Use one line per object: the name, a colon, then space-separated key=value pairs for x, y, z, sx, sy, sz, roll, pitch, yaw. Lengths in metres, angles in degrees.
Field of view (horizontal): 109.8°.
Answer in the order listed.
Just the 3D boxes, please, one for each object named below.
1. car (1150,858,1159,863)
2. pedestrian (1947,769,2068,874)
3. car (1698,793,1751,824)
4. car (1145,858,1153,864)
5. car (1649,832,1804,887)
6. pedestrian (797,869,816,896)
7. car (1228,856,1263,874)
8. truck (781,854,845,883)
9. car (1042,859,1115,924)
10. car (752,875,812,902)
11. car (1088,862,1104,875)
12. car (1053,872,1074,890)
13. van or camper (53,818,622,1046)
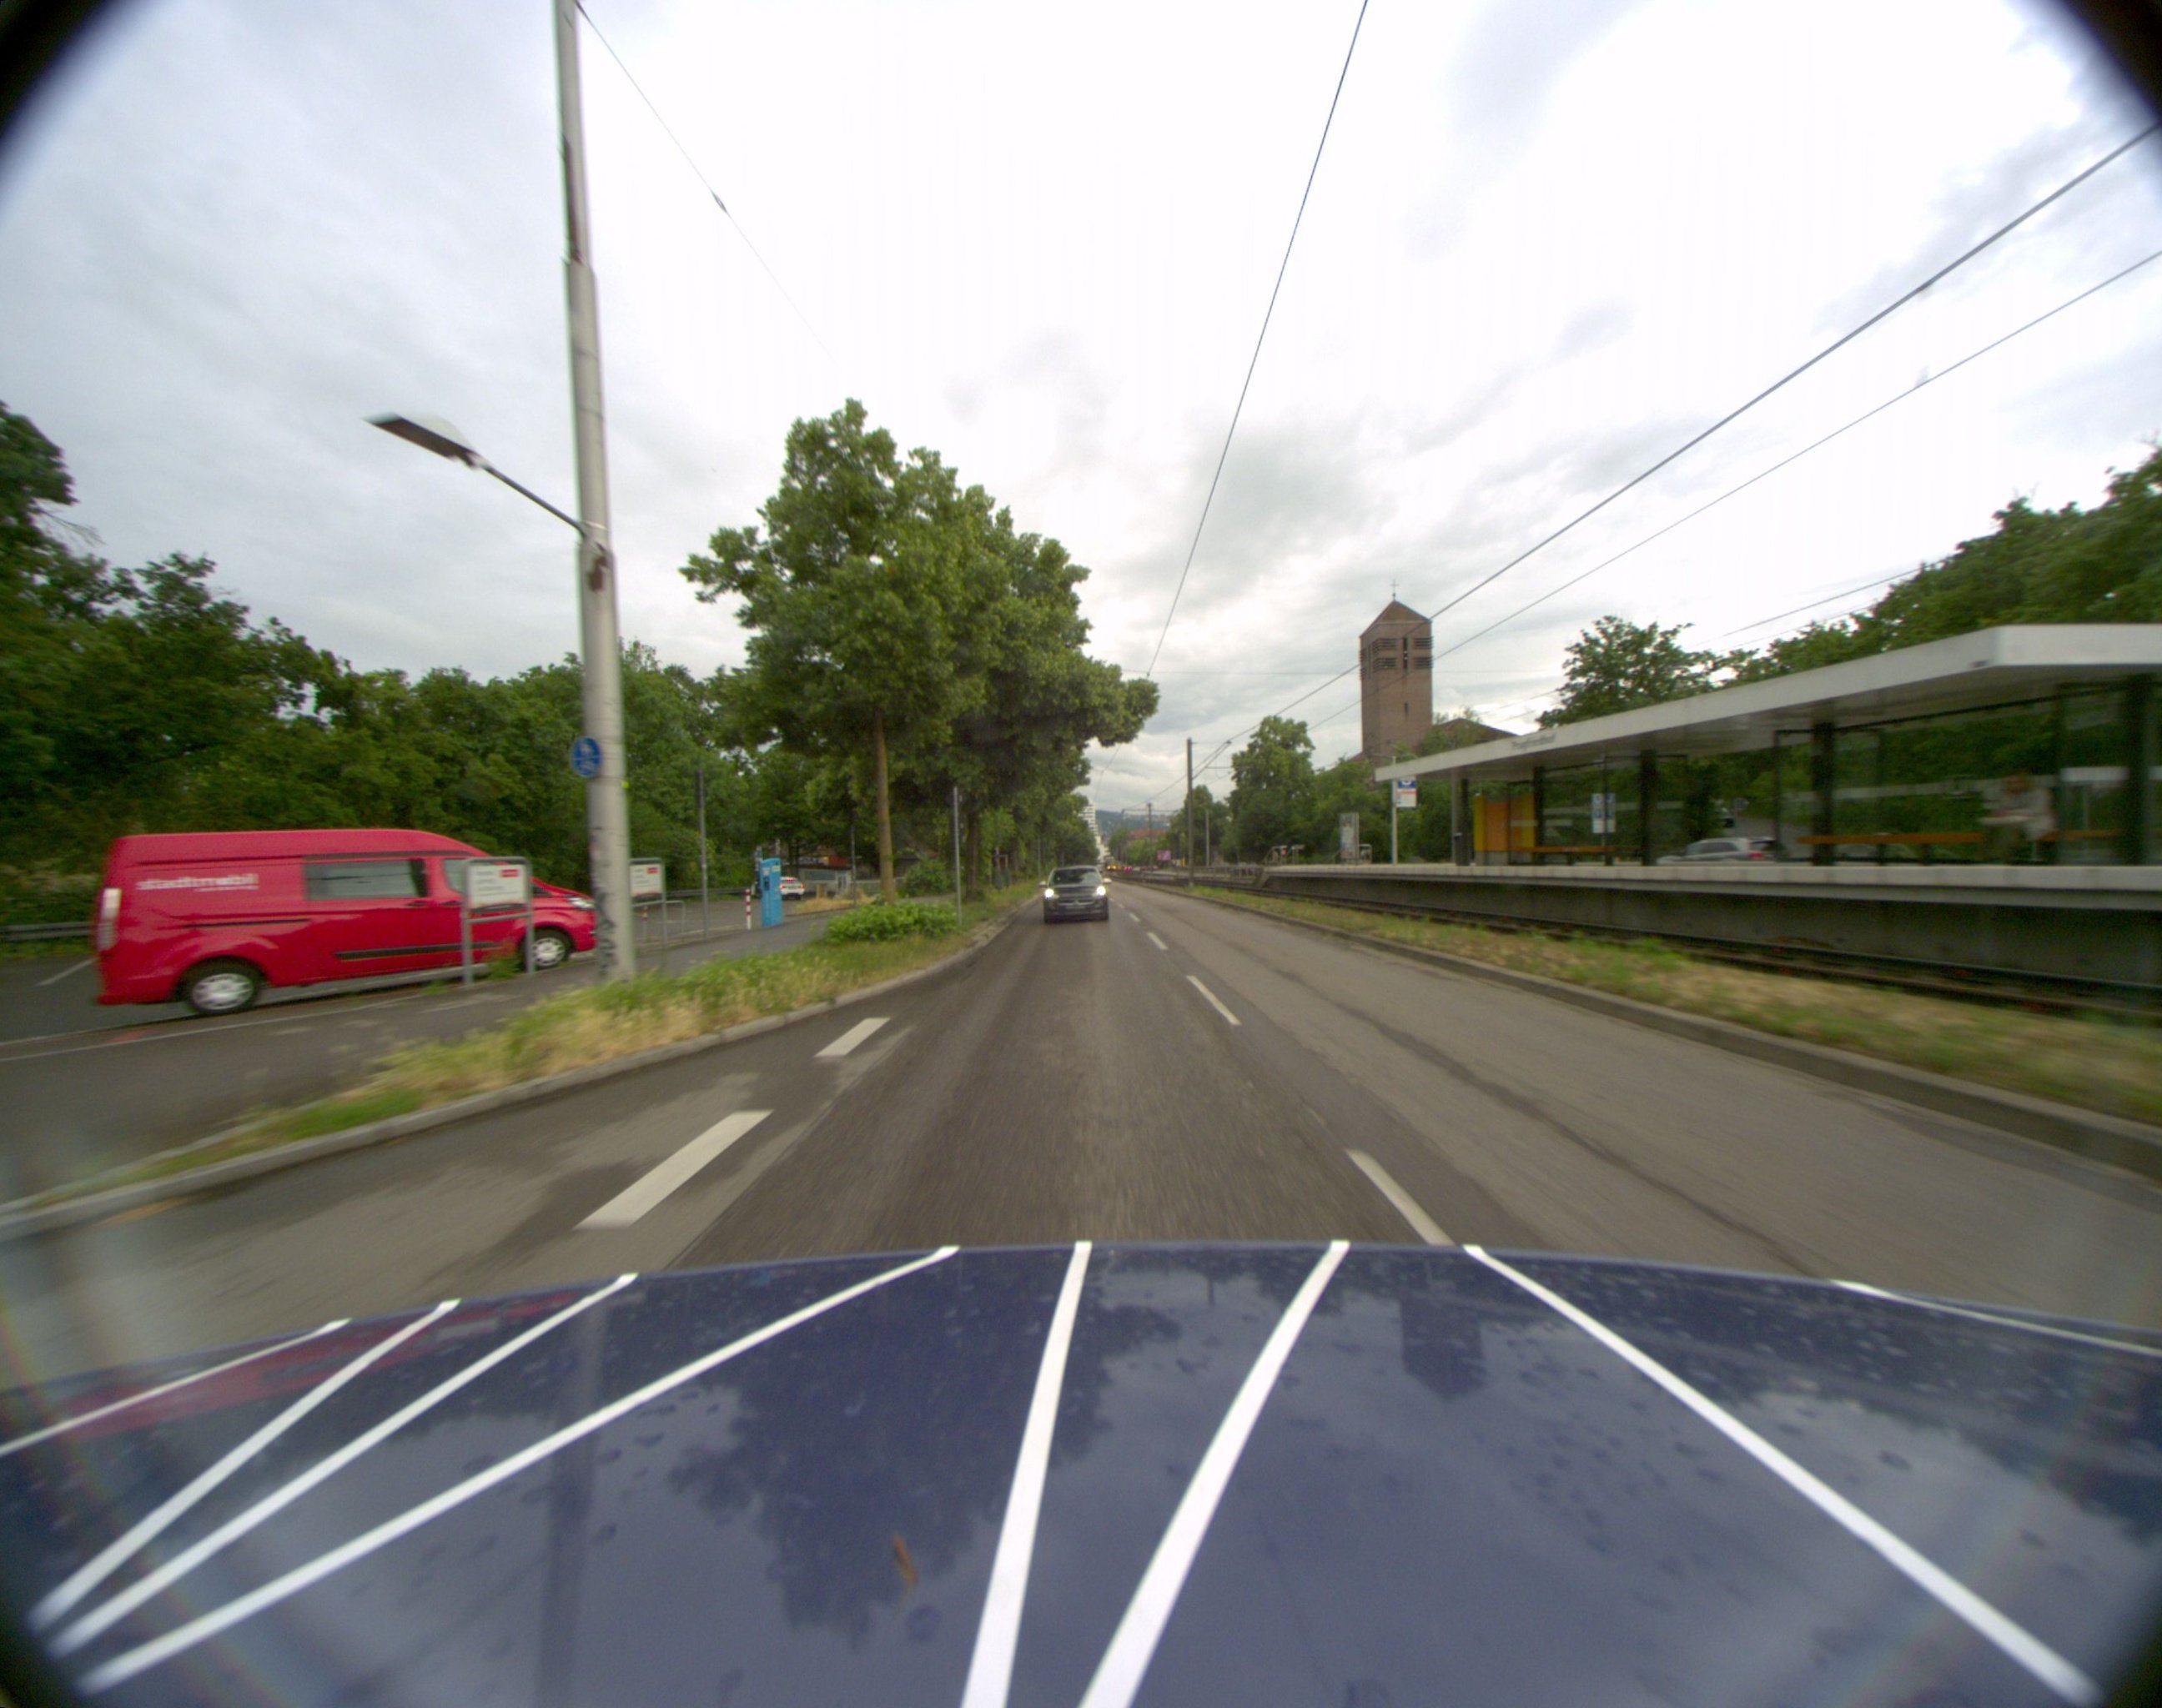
car: x=20.017 y=1.734 z=207.999 sx=1.970 sy=1.432 sz=4.321 roll=-1 pitch=0 yaw=-1
pedestrian: x=11.453 y=-0.389 z=9.412 sx=0.712 sy=1.218 sz=0.619 roll=-2 pitch=0 yaw=0
car: x=46.504 y=-3.267 z=55.018 sx=1.995 sy=2.002 sz=4.005 roll=-3 pitch=2 yaw=27
car: x=20.866 y=2.133 z=233.874 sx=1.998 sy=1.634 sz=4.525 roll=0 pitch=0 yaw=1
car: x=24.461 y=0.205 z=29.076 sx=1.999 sy=1.865 sz=4.517 roll=-2 pitch=0 yaw=-1
pedestrian: x=-17.980 y=1.852 z=49.808 sx=0.898 sy=1.760 sz=0.941 roll=0 pitch=1 yaw=-43
car: x=15.465 y=1.029 z=71.647 sx=1.999 sy=1.614 sz=4.516 roll=-2 pitch=0 yaw=-4
truck: x=-28.220 y=1.474 z=80.292 sx=2.054 sy=2.850 sz=6.618 roll=-2 pitch=0 yaw=29
car: x=-0.073 y=0.964 z=21.293 sx=1.746 sy=1.544 sz=4.494 roll=-3 pitch=-1 yaw=0
car: x=-19.079 y=2.154 z=48.387 sx=2.004 sy=1.570 sz=4.638 roll=-2 pitch=0 yaw=-42
car: x=1.862 y=1.701 z=93.129 sx=1.768 sy=1.502 sz=4.342 roll=-2 pitch=-1 yaw=4
car: x=-1.633 y=2.475 z=70.553 sx=1.769 sy=1.502 sz=4.340 roll=-2 pitch=-1 yaw=-1
van or camper: x=-10.187 y=0.853 z=11.108 sx=2.036 sy=2.392 sz=5.400 roll=-6 pitch=0 yaw=43
